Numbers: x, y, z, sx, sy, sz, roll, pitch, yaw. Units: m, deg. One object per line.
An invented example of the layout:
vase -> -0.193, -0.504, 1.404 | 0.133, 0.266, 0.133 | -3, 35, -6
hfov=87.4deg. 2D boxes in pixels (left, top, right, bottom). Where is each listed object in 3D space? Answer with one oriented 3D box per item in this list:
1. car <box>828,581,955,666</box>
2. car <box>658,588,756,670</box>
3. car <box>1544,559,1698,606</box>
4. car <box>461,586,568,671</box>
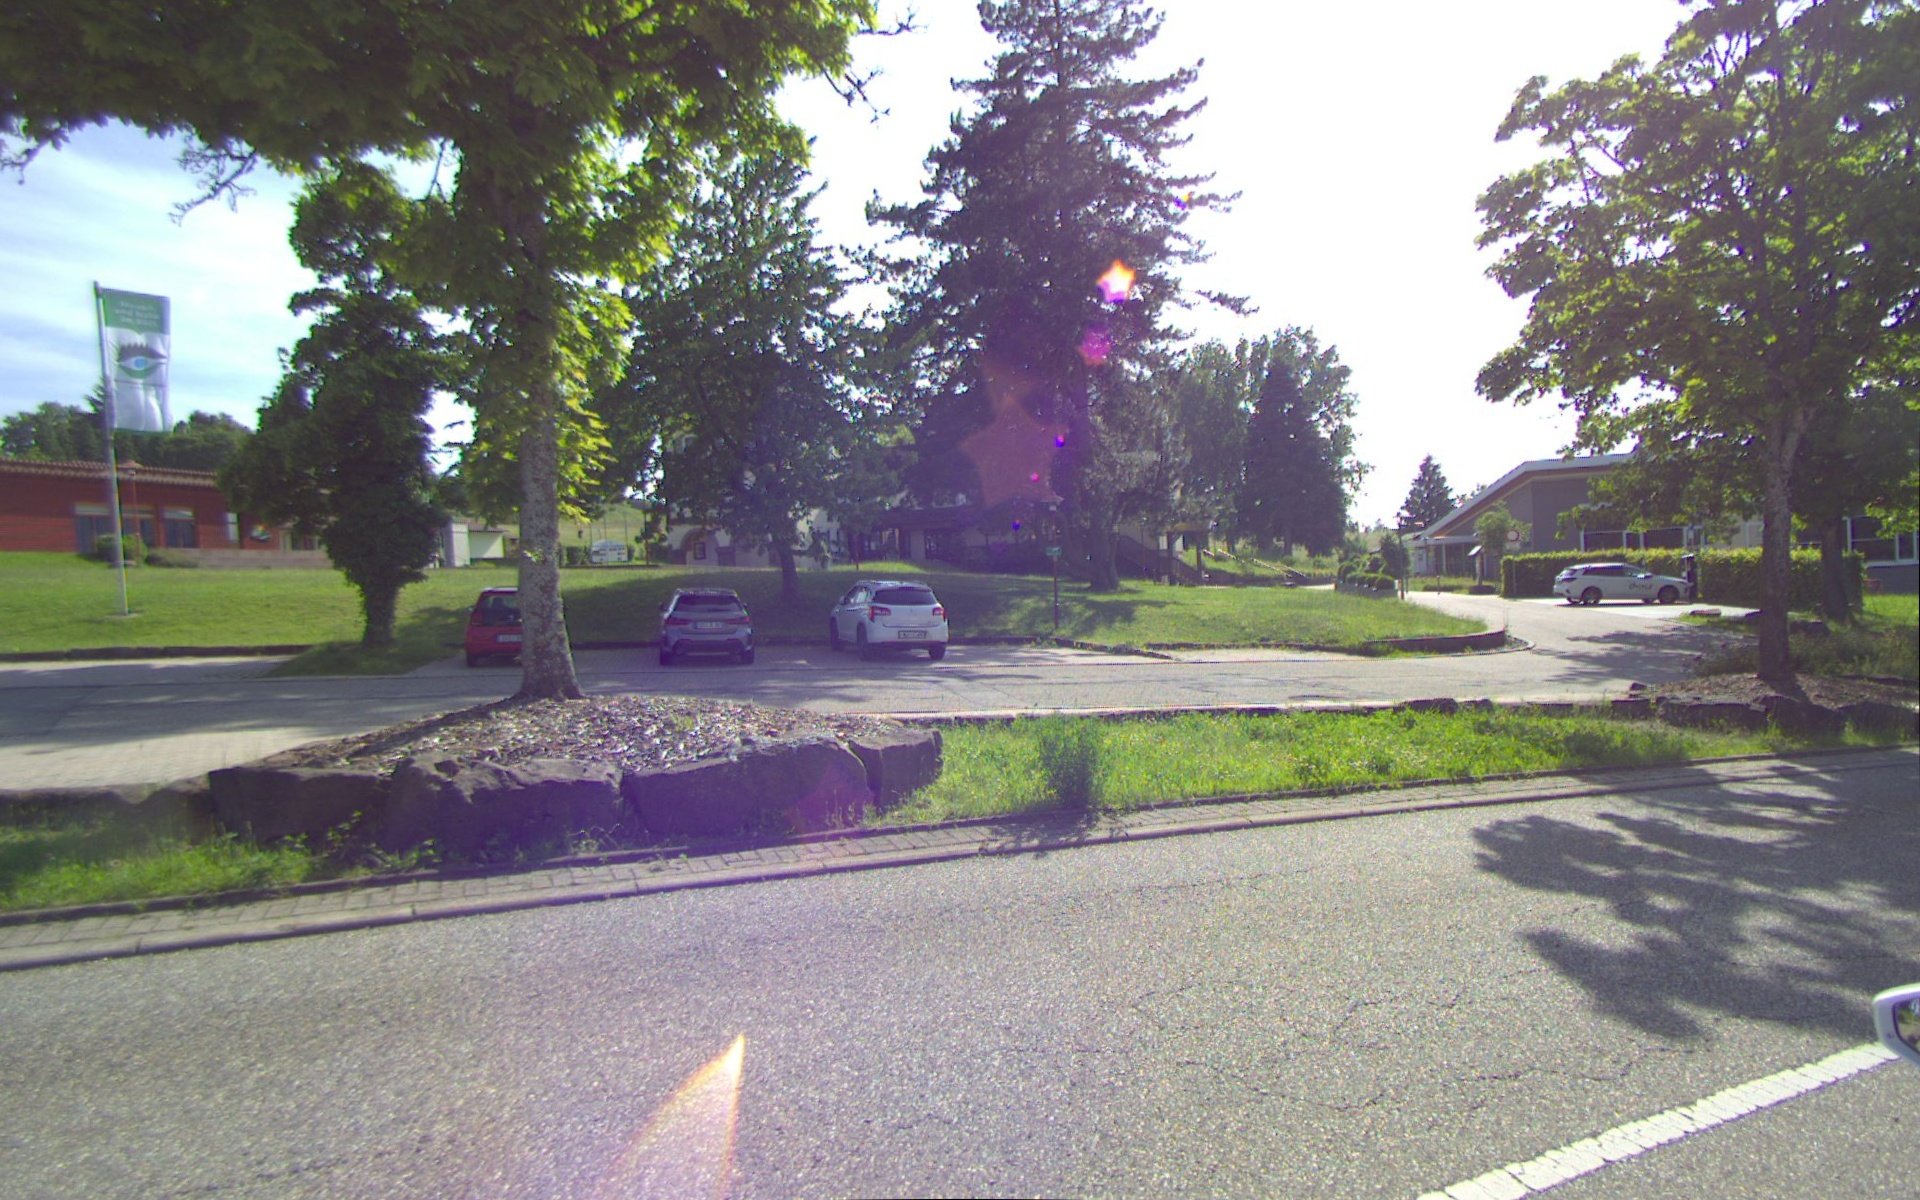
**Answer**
car -> -1.580, 0.431, 21.814 | 1.749, 1.631, 3.923 | 0, 1, -20
car -> -5.129, 0.523, 20.349 | 1.746, 1.453, 3.702 | 1, 1, -15
car -> 25.809, -0.690, 39.409 | 4.635, 1.555, 2.000 | -2, 4, 13
car -> -8.715, 0.498, 19.874 | 1.750, 1.490, 3.192 | 0, 1, -21
